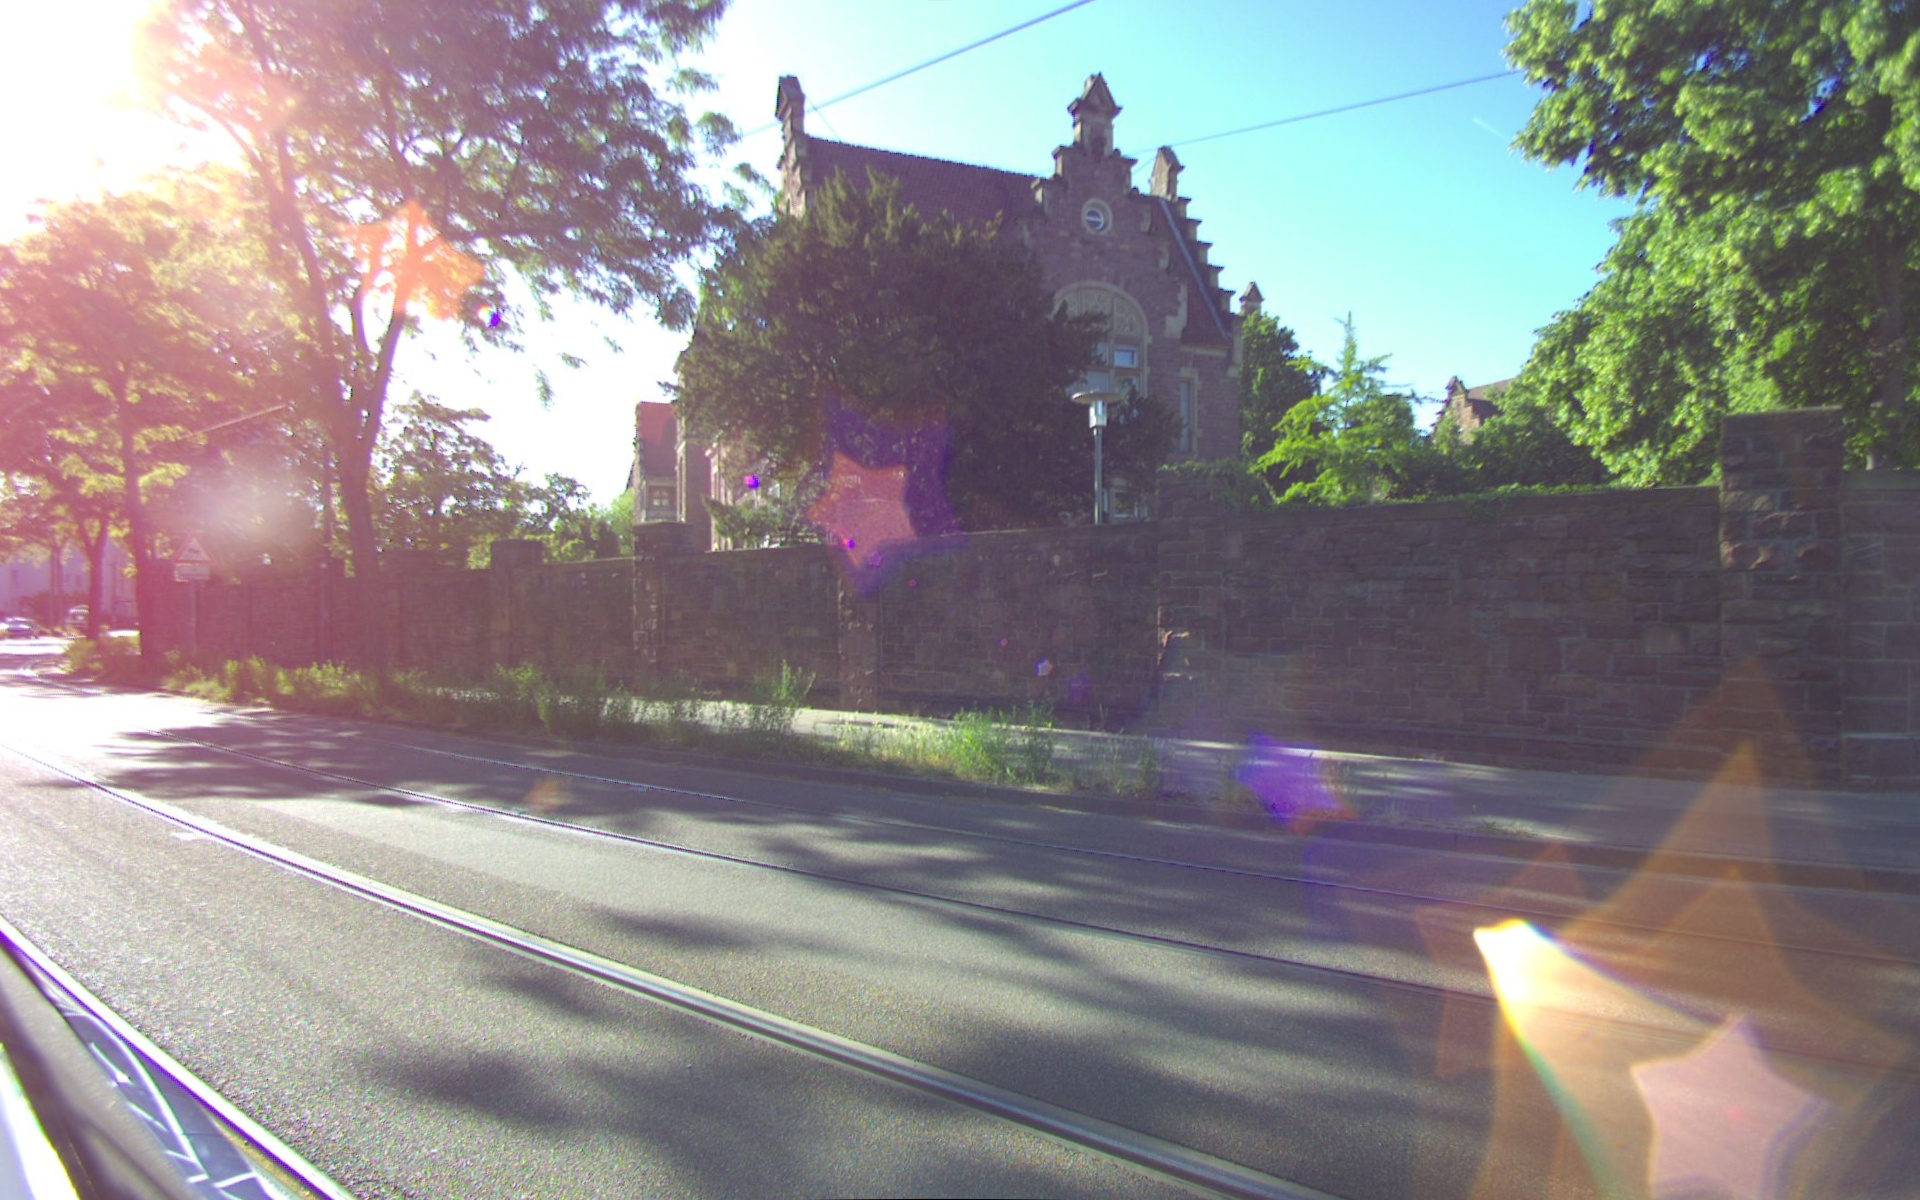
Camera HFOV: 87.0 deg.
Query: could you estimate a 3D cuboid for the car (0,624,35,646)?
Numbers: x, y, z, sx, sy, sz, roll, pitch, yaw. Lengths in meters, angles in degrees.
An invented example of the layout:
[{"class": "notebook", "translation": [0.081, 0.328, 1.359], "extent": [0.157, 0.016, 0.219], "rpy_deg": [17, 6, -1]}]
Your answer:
[{"class": "car", "translation": [-68.898, 2.513, 73.842], "extent": [1.969, 1.560, 4.005], "rpy_deg": [0, -1, -41]}]
